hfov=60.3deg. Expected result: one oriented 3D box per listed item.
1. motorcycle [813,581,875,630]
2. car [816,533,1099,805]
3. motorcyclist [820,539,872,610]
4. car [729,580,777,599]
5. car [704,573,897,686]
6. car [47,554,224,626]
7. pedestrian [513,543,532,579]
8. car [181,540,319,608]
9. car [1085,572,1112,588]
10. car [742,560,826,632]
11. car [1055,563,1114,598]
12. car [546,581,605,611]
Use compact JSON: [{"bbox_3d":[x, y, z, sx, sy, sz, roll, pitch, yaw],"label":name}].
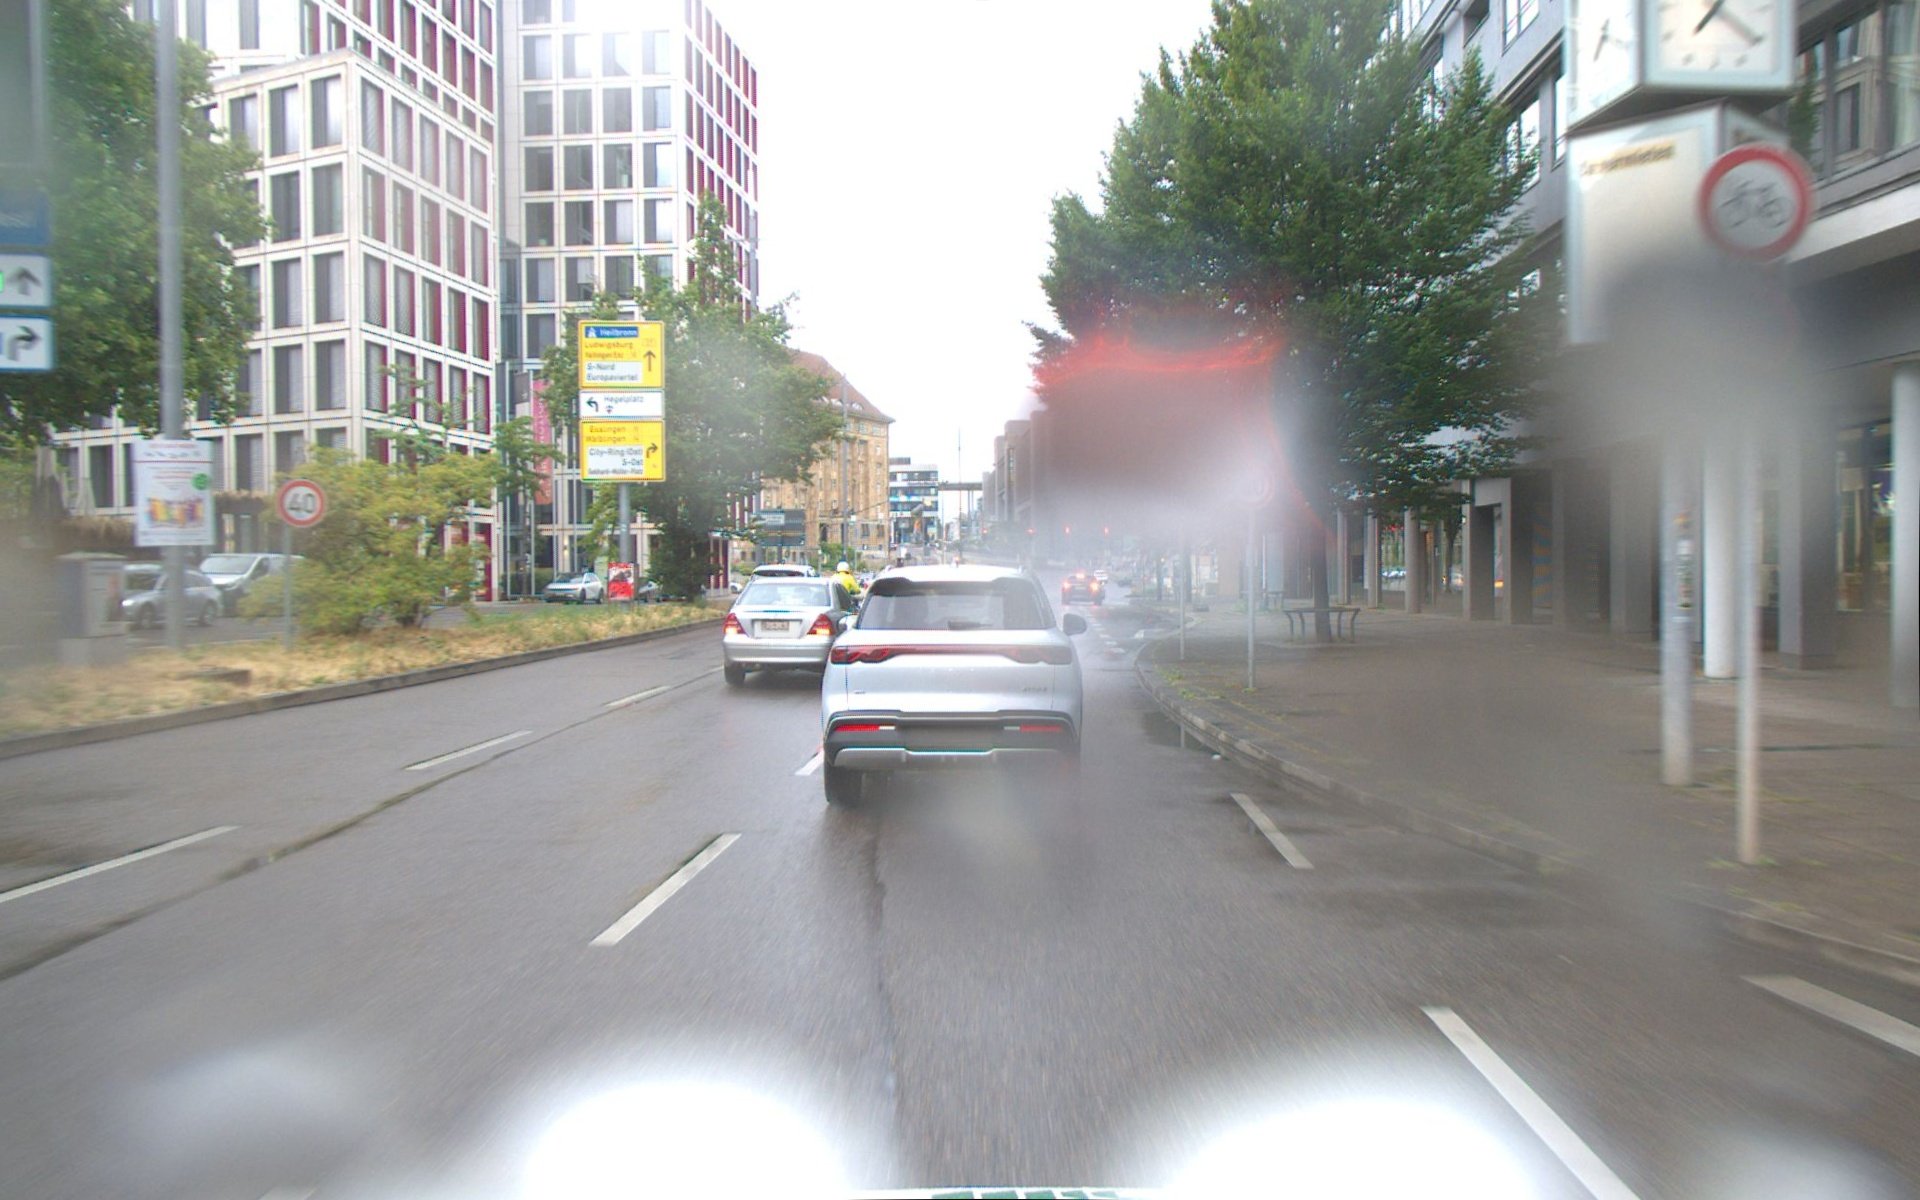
[{"bbox_3d":[-2.474,0.104,35.548,0.922,1.006,2.296,1,0,6],"label":"motorcycle"},{"bbox_3d":[0.053,0.445,12.562,1.770,1.690,4.171,1,0,2],"label":"car"},{"bbox_3d":[-2.445,-0.543,35.707,0.921,1.501,1.101,1,0,6],"label":"motorcyclist"},{"bbox_3d":[-19.341,-0.949,154.395,4.304,1.691,1.994,1,0,-12],"label":"car"},{"bbox_3d":[-2.148,0.386,23.542,1.696,1.428,4.386,1,0,9],"label":"car"},{"bbox_3d":[-20.372,-0.288,41.088,1.952,1.646,4.484,1,1,3],"label":"car"},{"bbox_3d":[-22.059,-1.950,83.422,0.599,1.765,0.967,1,0,4],"label":"pedestrian"},{"bbox_3d":[-22.524,-0.786,52.699,1.952,2.049,4.918,1,0,4],"label":"car"},{"bbox_3d":[16.355,-2.354,195.496,1.961,1.847,3.983,1,0,-15],"label":"car"},{"bbox_3d":[-4.243,-0.079,40.369,1.698,1.644,3.998,1,0,-2],"label":"car"},{"bbox_3d":[6.044,-0.938,80.084,1.852,1.571,3.994,1,0,19],"label":"car"},{"bbox_3d":[-19.392,-0.214,83.576,1.662,1.449,4.376,-1,0,4],"label":"car"}]
